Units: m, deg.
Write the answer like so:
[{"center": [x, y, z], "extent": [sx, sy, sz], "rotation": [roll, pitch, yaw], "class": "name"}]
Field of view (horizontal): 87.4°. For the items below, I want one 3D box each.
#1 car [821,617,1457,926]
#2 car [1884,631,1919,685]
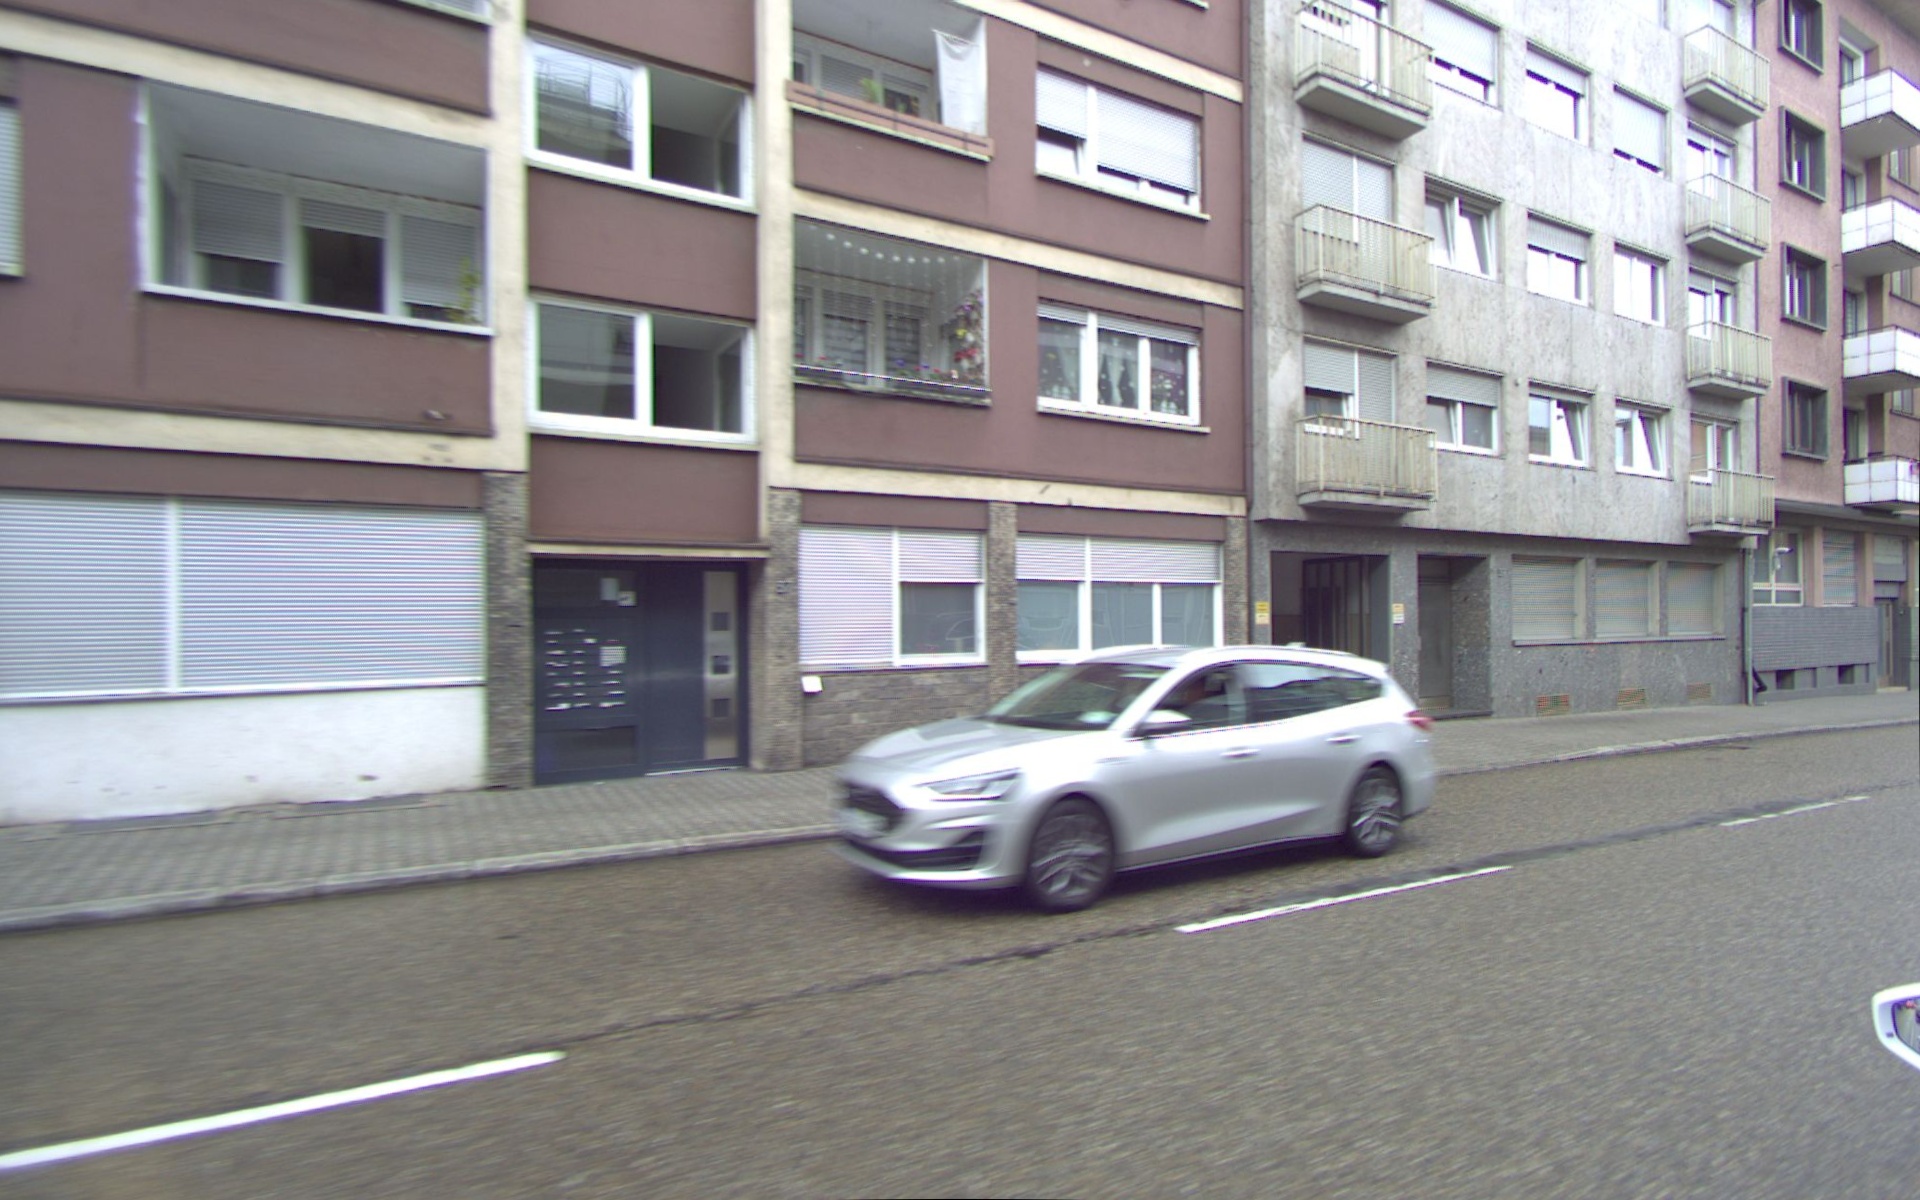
[{"center": [1.376, 0.974, 7.005], "extent": [4.311, 1.559, 1.763], "rotation": [2, -3, -32], "class": "car"}, {"center": [32.193, 1.863, 32.691], "extent": [4.209, 1.695, 1.984], "rotation": [1, -2, -30], "class": "car"}]
